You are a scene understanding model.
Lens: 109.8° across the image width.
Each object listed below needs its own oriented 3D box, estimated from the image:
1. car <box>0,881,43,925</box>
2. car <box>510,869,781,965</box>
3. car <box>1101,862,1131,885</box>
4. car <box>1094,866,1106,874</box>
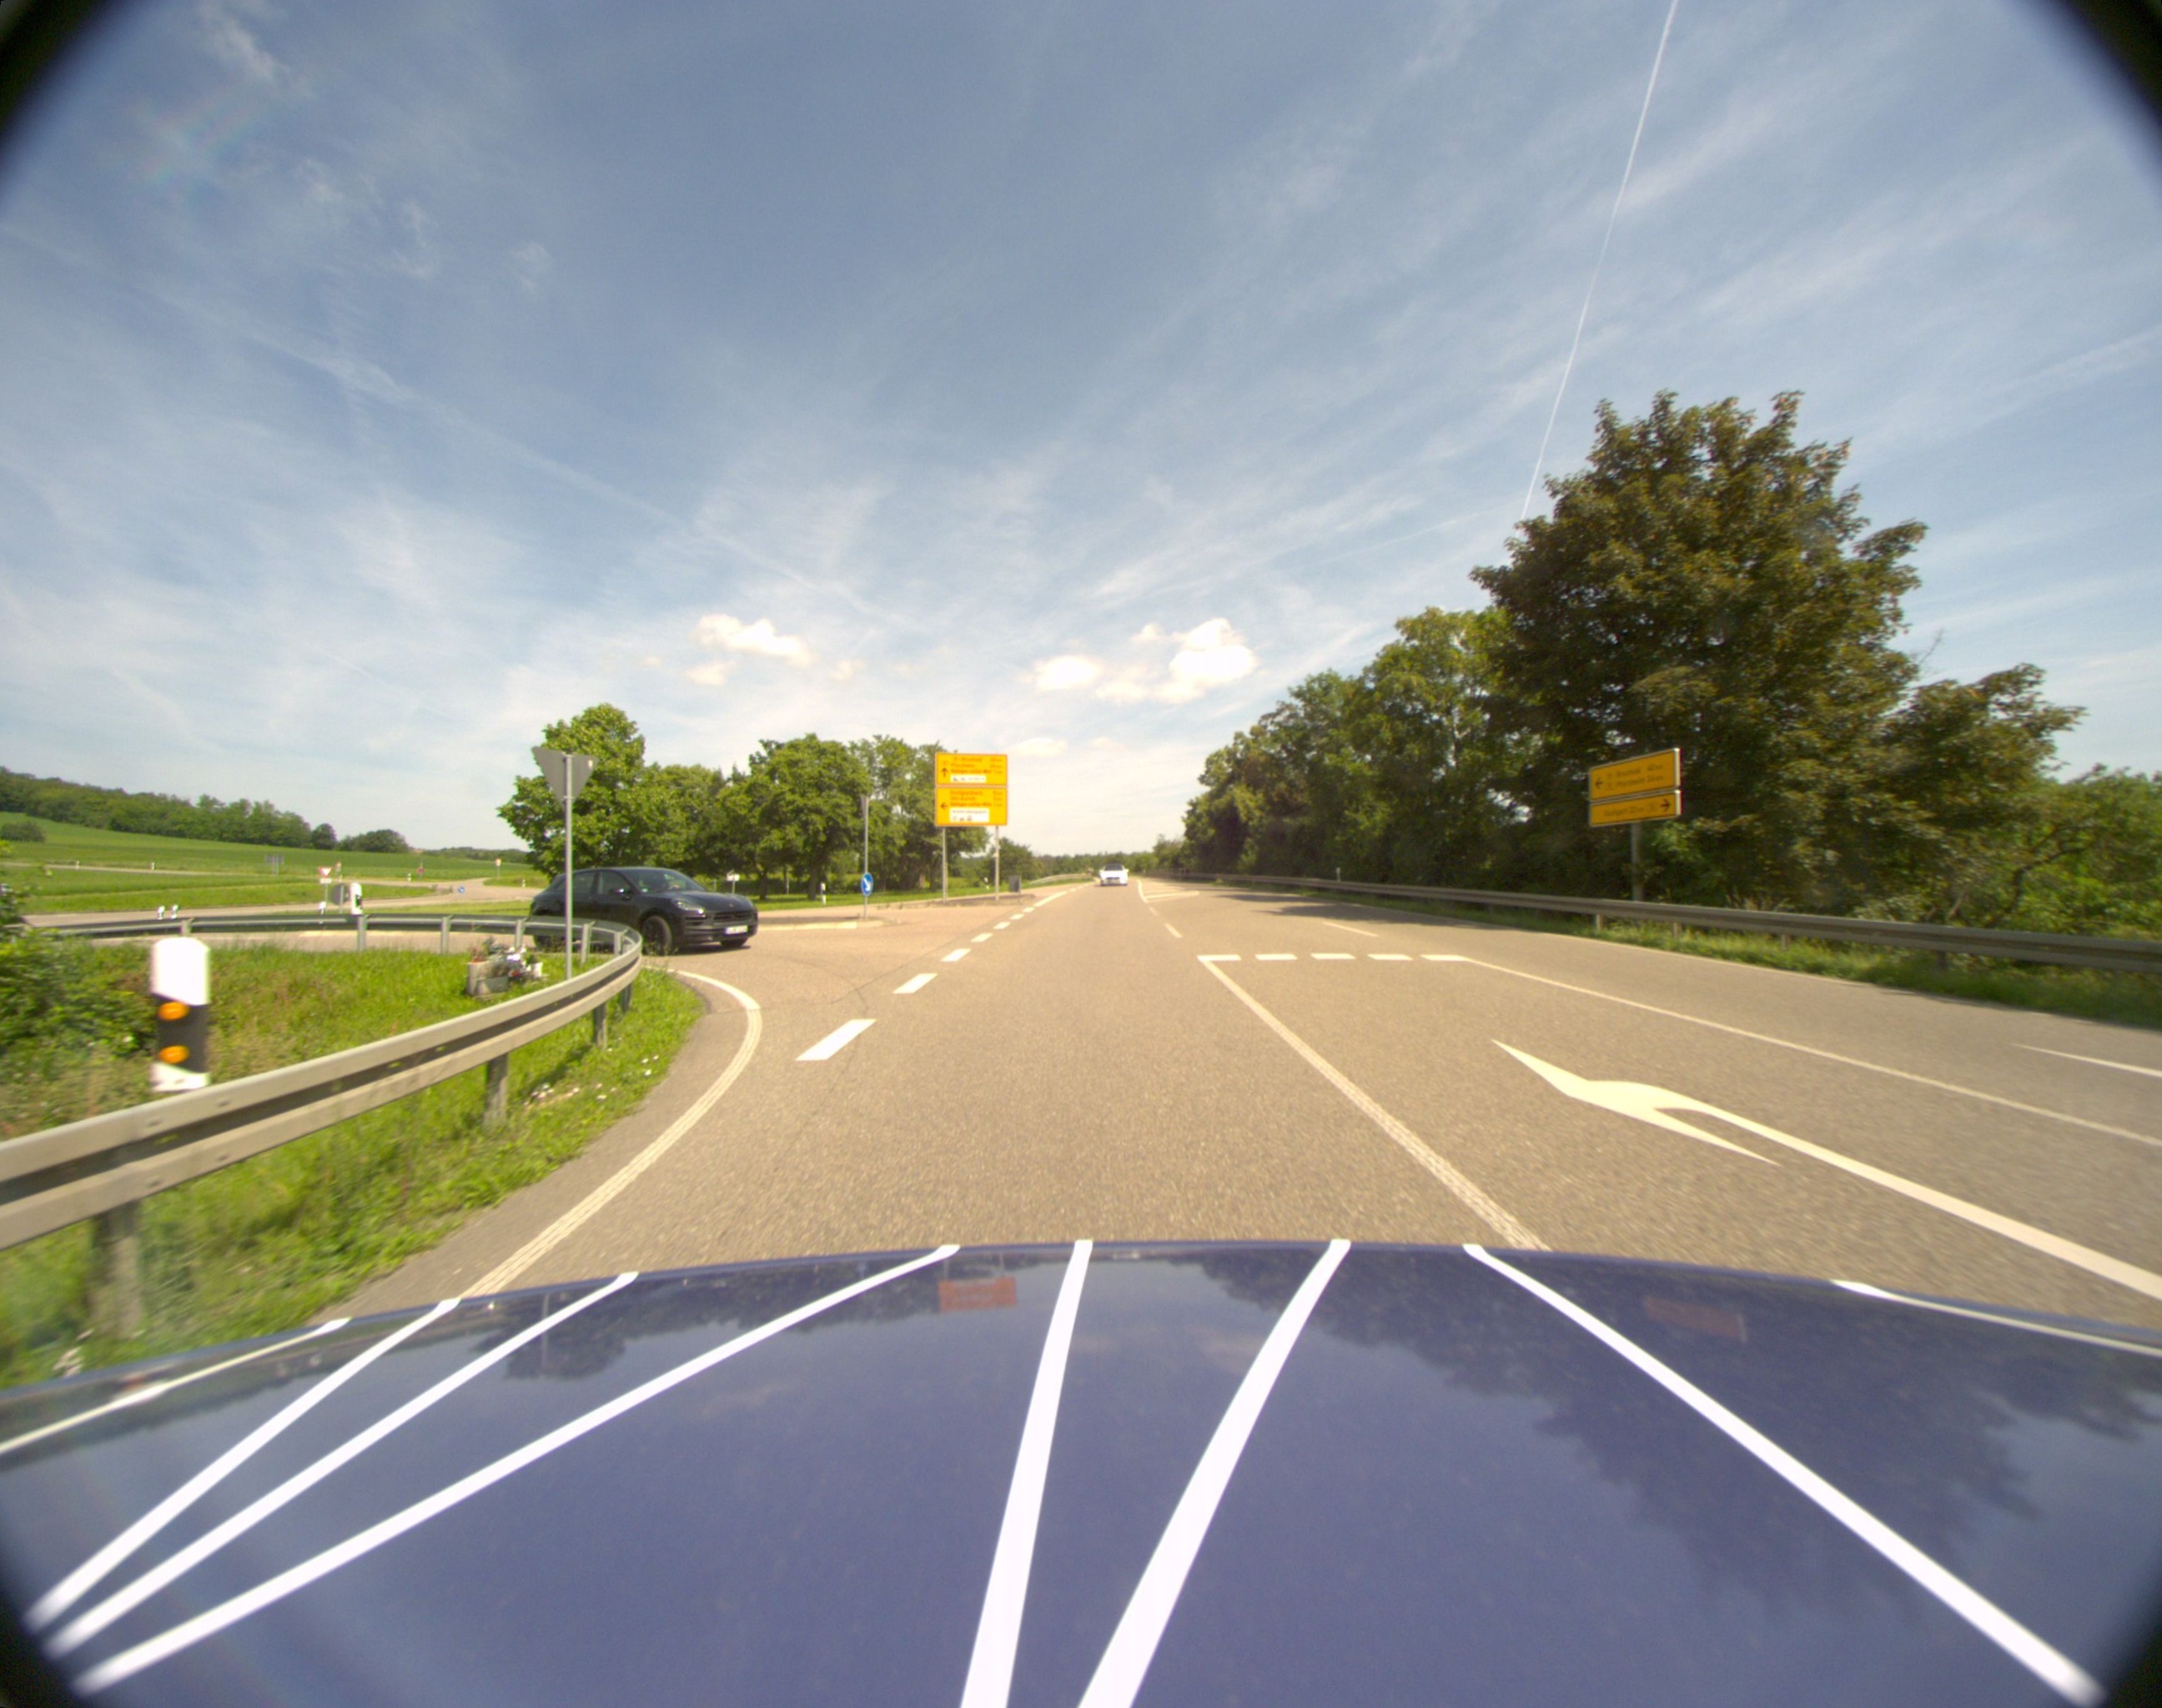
[{"bbox_3d":[-49.103,2.194,33.785,2.004,1.835,5.406,2,-2,-38],"label":"car"},{"bbox_3d":[-8.288,1.141,14.538,4.419,1.580,2.067,-1,0,20],"label":"car"},{"bbox_3d":[2.341,1.323,52.181,1.929,1.441,4.535,-1,-1,1],"label":"car"},{"bbox_3d":[3.199,2.733,129.984,1.929,1.441,4.000,0,-1,-1],"label":"car"}]
